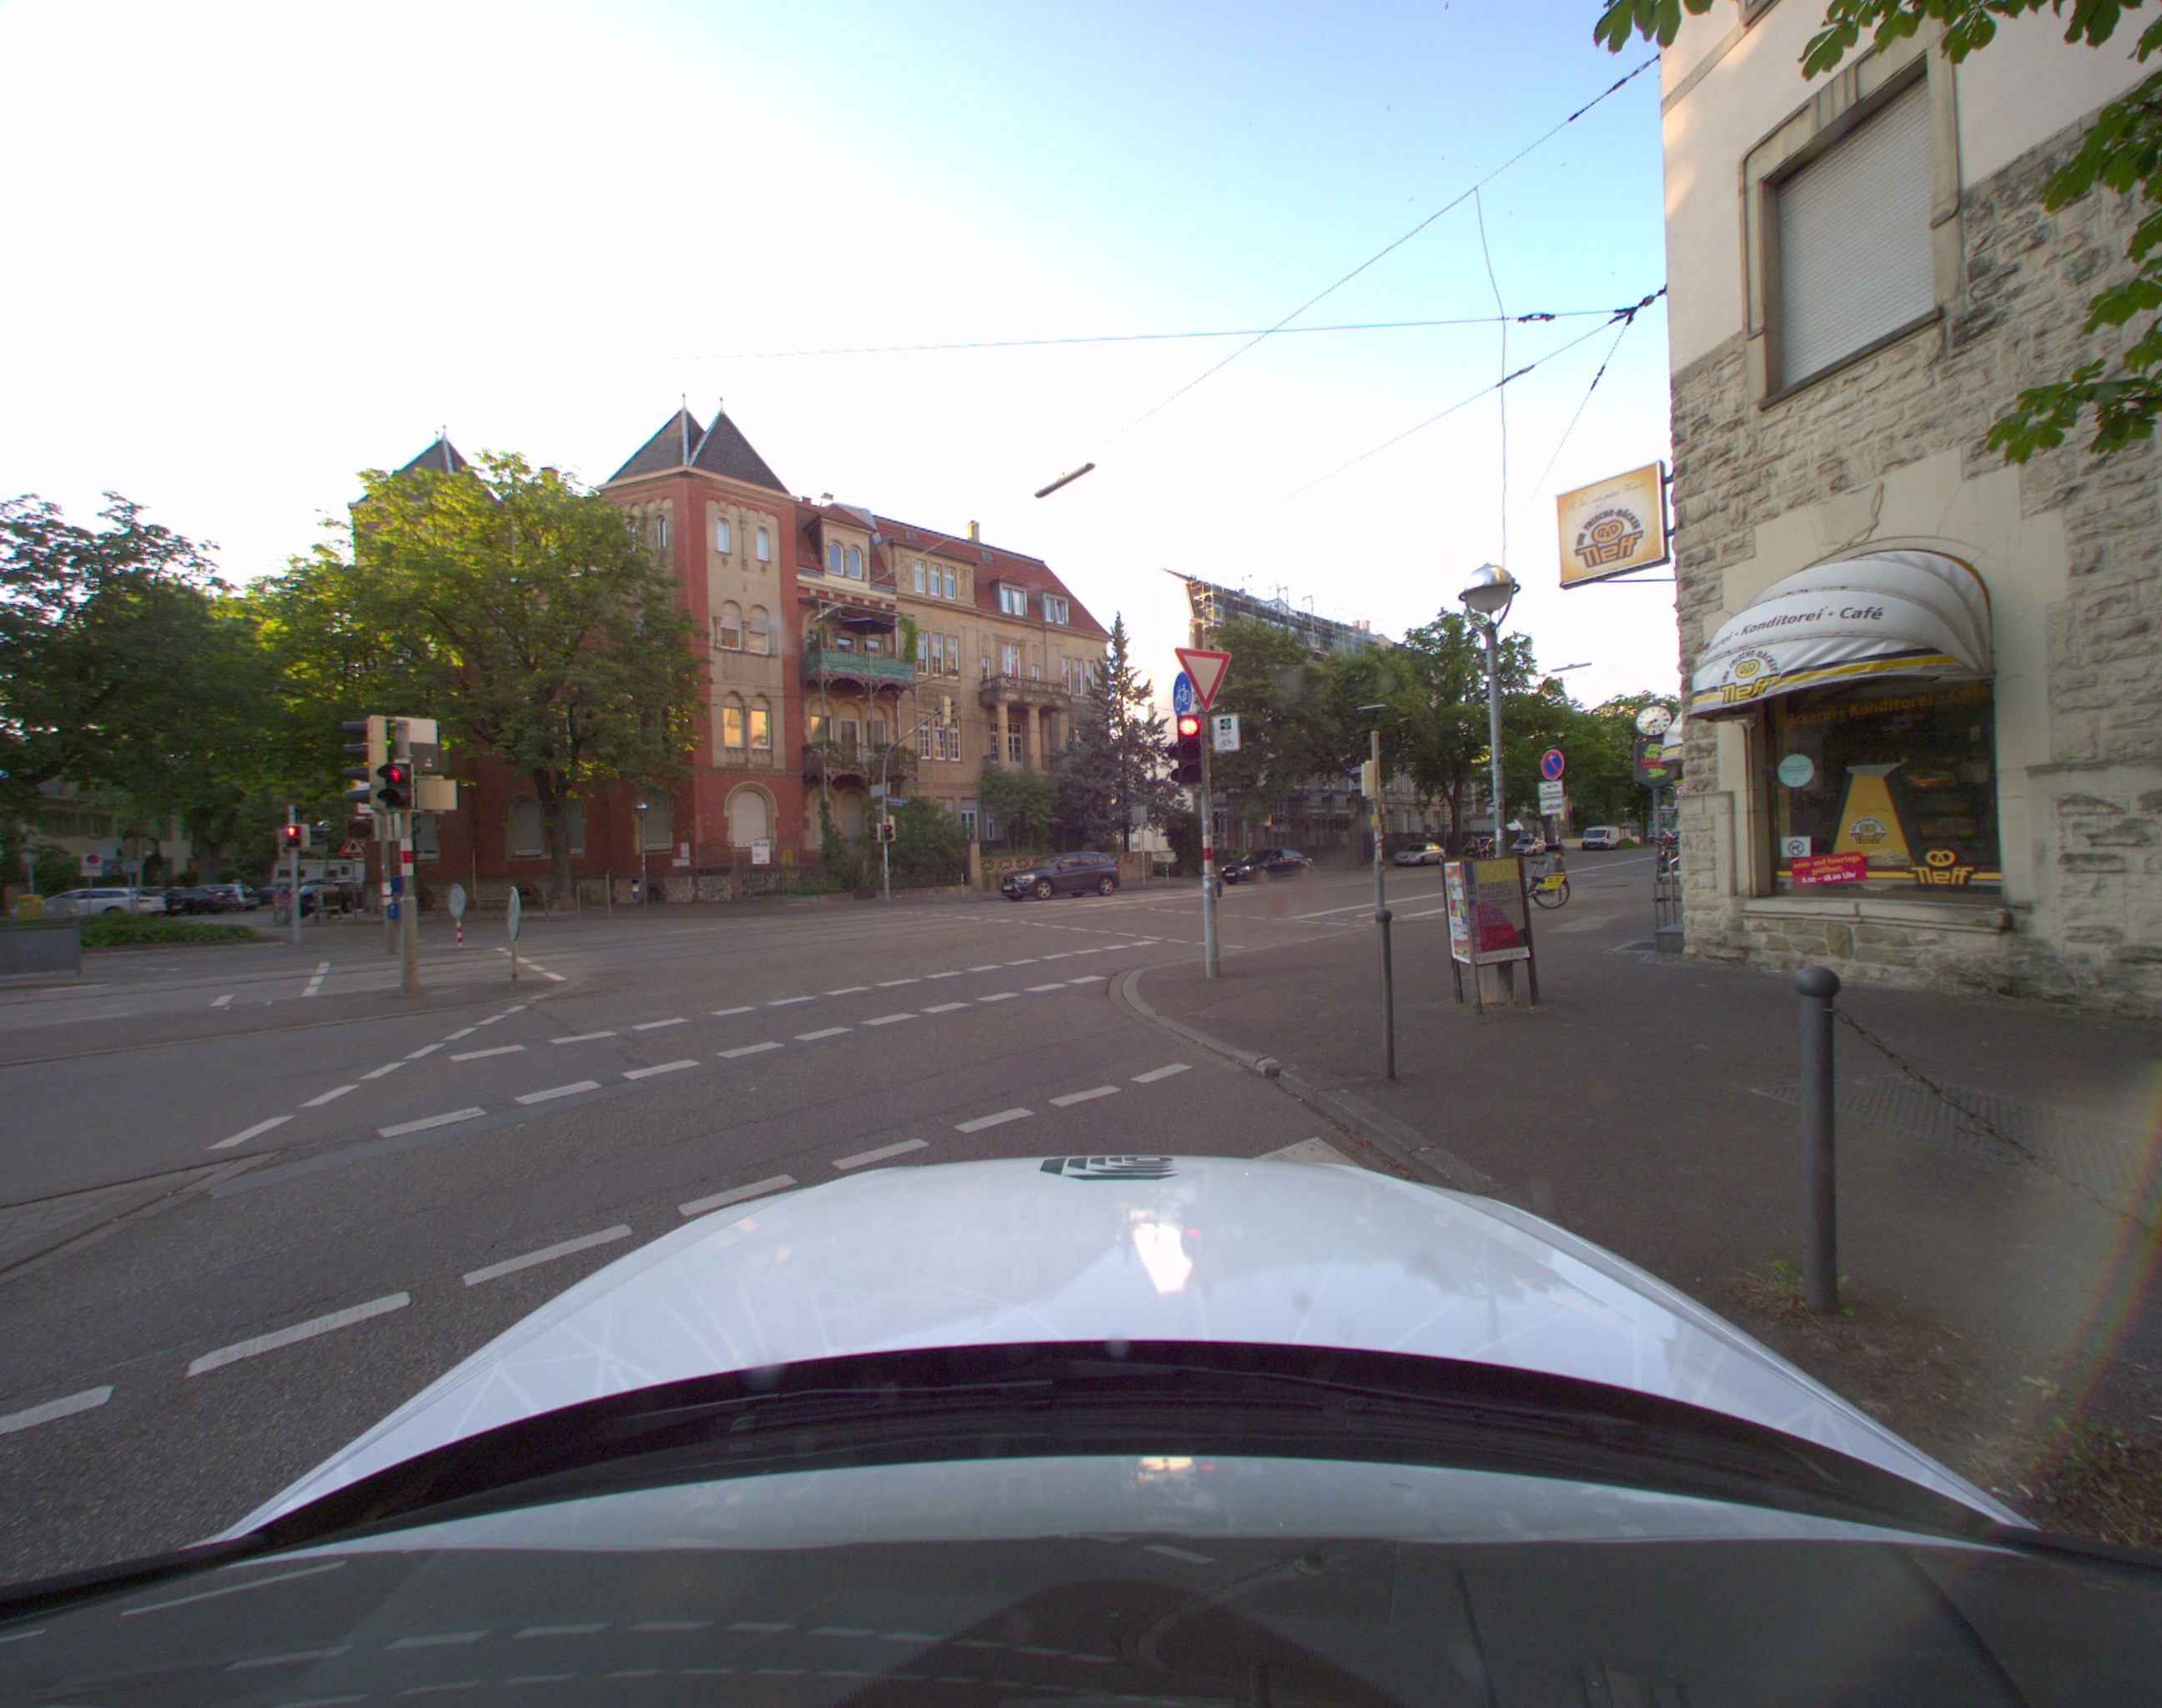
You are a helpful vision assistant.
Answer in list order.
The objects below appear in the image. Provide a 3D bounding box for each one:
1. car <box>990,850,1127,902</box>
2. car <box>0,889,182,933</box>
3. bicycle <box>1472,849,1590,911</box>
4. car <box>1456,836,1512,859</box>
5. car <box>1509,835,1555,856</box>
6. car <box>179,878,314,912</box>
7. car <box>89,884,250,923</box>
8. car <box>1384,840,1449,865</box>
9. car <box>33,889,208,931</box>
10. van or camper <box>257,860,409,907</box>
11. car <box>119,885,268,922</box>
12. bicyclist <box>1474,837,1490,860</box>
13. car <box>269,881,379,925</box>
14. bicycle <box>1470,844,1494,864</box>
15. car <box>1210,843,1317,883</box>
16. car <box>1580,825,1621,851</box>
[{"bbox_3d":[-0.725,0.717,28.059,4.441,1.510,1.928,-2,0,-38],"label":"car"},{"bbox_3d":[-44.401,2.501,36.570,4.974,1.704,1.984,-1,-1,-25],"label":"car"},{"bbox_3d":[8.723,0.497,15.863,1.859,1.130,0.734,-2,0,12],"label":"bicycle"},{"bbox_3d":[28.841,-0.486,58.277,4.189,1.482,1.928,-2,0,-38],"label":"car"},{"bbox_3d":[35.697,-0.670,64.415,4.346,1.482,1.926,-2,0,-45],"label":"car"},{"bbox_3d":[-47.604,2.313,46.590,4.974,1.704,1.984,-1,-1,-25],"label":"car"},{"bbox_3d":[-45.681,2.431,40.979,4.974,1.704,1.984,-1,-1,-25],"label":"car"},{"bbox_3d":[21.169,-0.107,51.314,4.658,1.426,1.986,-2,0,-42],"label":"car"},{"bbox_3d":[-45.306,2.585,38.597,4.974,1.704,1.984,-1,-1,-25],"label":"car"},{"bbox_3d":[-52.667,2.013,57.602,7.400,3.083,2.651,-1,-1,-25],"label":"van or camper"},{"bbox_3d":[-47.284,2.624,43.568,4.974,1.704,1.984,-1,-1,-25],"label":"car"},{"bbox_3d":[24.682,-0.344,50.163,0.739,1.428,0.549,-2,0,-35],"label":"bicyclist"},{"bbox_3d":[-33.653,2.103,36.390,2.001,1.704,4.686,-1,-1,-21],"label":"car"},{"bbox_3d":[24.696,-0.024,50.155,1.614,1.148,0.549,-2,0,-35],"label":"bicycle"},{"bbox_3d":[7.876,0.367,34.880,4.655,1.510,1.928,-2,0,-38],"label":"car"},{"bbox_3d":[49.117,-1.547,76.949,4.657,2.316,1.927,-2,0,-41],"label":"car"}]
